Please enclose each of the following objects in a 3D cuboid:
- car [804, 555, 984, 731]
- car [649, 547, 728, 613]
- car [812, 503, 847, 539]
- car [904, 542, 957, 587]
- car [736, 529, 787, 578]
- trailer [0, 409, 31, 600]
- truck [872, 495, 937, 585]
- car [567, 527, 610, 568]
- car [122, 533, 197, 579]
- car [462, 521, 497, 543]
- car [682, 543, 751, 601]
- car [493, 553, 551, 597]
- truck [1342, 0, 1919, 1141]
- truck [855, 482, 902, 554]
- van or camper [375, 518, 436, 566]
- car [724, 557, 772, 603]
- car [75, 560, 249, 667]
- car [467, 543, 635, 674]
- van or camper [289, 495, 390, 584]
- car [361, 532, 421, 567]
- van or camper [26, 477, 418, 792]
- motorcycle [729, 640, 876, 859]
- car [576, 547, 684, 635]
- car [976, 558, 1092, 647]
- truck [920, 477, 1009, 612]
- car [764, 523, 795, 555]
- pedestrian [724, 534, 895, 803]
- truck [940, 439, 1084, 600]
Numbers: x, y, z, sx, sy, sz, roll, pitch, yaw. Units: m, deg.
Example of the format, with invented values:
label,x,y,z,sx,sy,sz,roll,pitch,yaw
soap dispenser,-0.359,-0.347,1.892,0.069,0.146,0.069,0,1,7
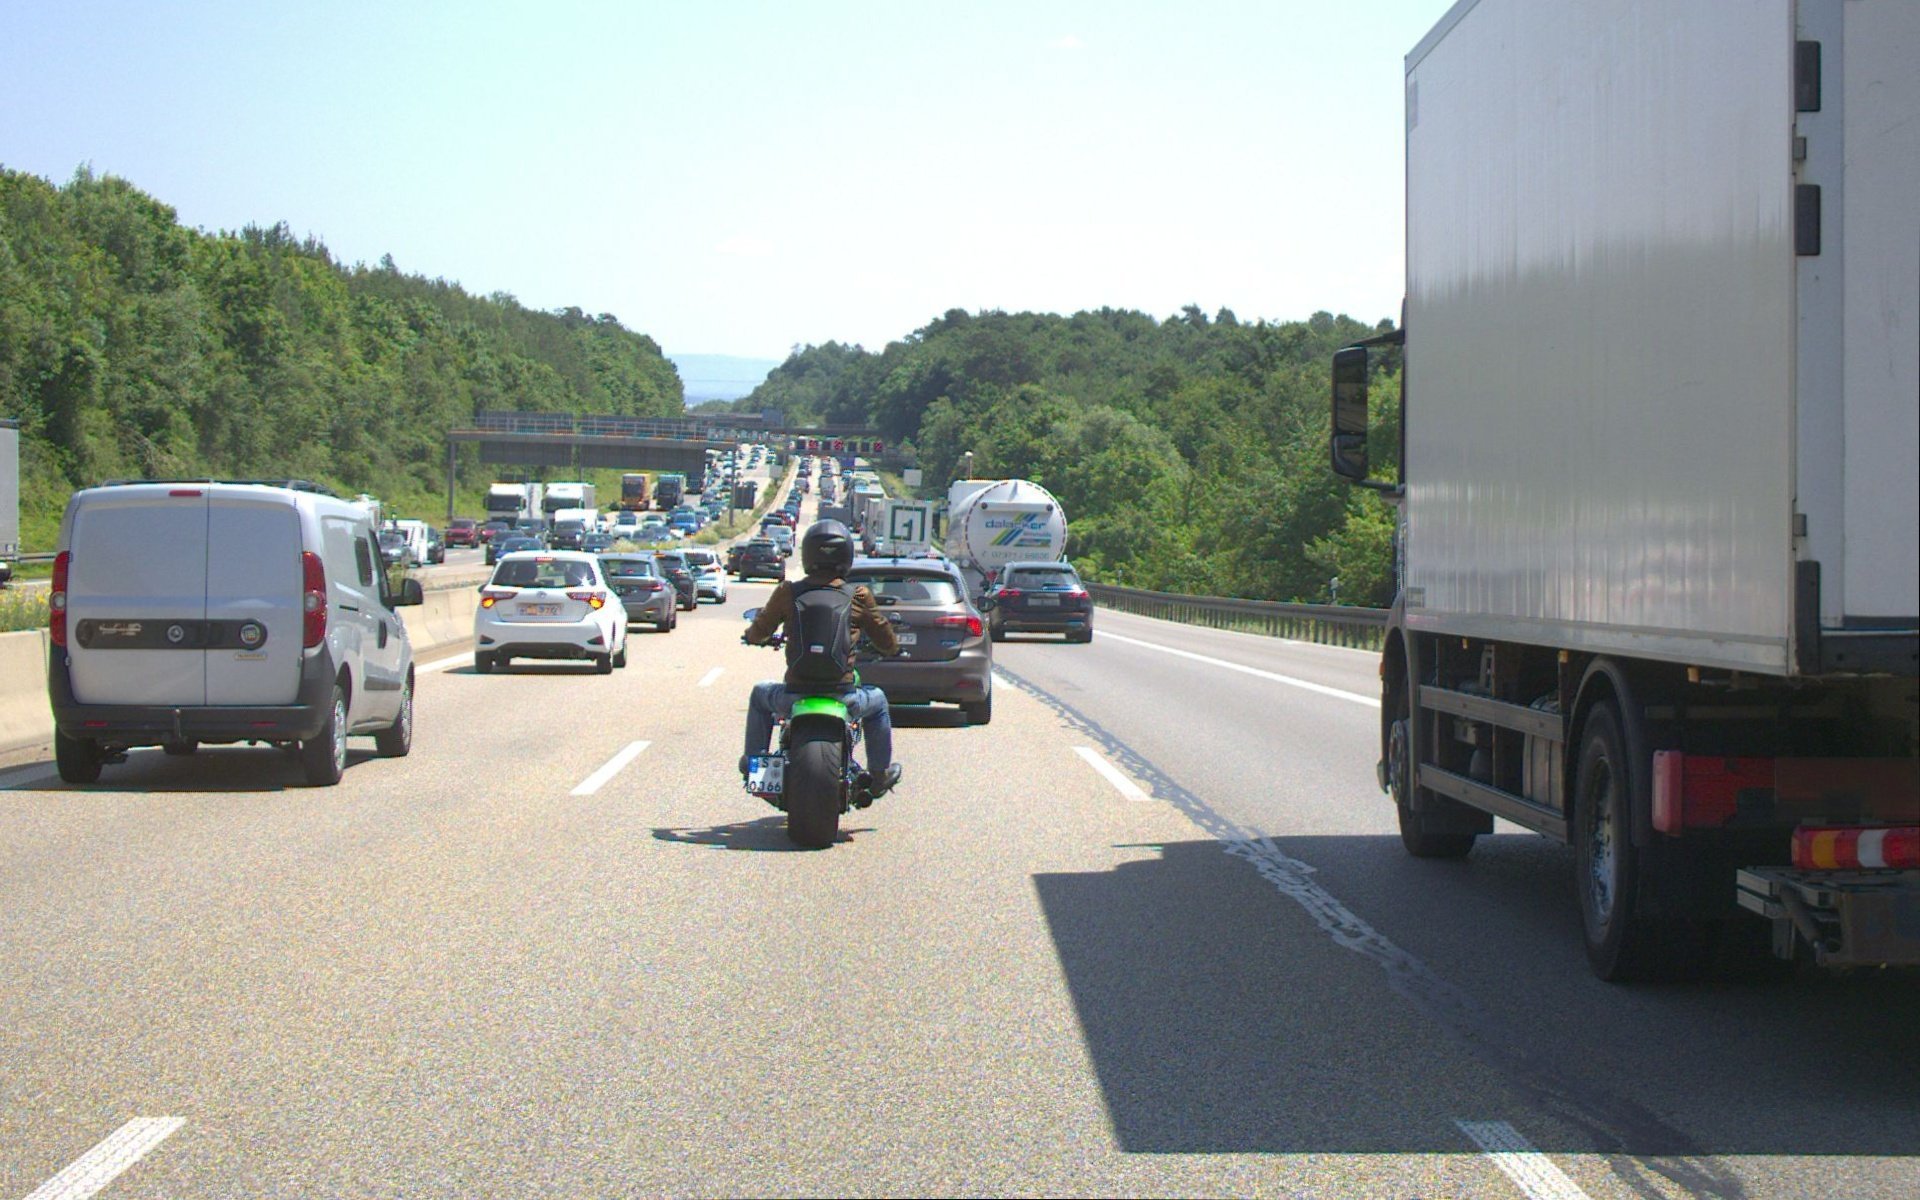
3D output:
label,x,y,z,sx,sy,sz,roll,pitch,yaw
car,-0.564,0.344,31.721,1.532,1.504,4.000,1,1,0
car,-6.578,-0.507,83.581,1.699,1.473,4.001,3,1,-2
car,-9.892,-5.995,259.839,2.504,2.578,5.017,3,1,-2
car,-1.102,-1.333,127.412,1.787,1.550,3.804,3,1,-2
car,-8.015,-1.879,138.926,1.880,1.853,4.000,3,1,-2
trailer,-20.867,-1.954,66.103,2.812,3.895,13.828,1,0,-2
truck,-3.061,-3.271,186.018,3.033,4.527,9.984,4,1,-2
car,-18.251,-2.574,169.040,1.891,1.941,4.000,1,0,-4
car,-26.565,-1.471,114.187,1.577,1.457,4.389,1,1,-1
car,-31.800,-4.488,227.525,1.762,1.365,4.502,2,1,-2
car,-6.671,-0.787,94.505,1.699,1.473,4.001,3,1,-2
car,-15.707,-0.918,123.403,1.710,1.532,4.129,1,1,-2
truck,3.431,-0.576,13.861,2.688,3.863,9.780,0,1,0
truck,-6.127,-6.102,257.245,3.033,5.121,9.984,4,1,-2
van or camper,-23.411,-2.447,145.270,2.076,1.970,3.705,1,1,-1
car,-9.543,-0.885,154.673,1.993,2.007,4.000,1,0,-2
car,-12.802,0.184,55.387,1.810,1.635,4.603,1,1,-1
car,-5.070,0.070,43.036,1.699,1.473,4.001,3,1,-2
van or camper,-19.967,-1.911,110.914,2.269,2.726,6.806,1,0,-2
car,-23.175,-2.048,140.149,1.801,1.342,4.724,1,1,-2
van or camper,-4.788,0.200,22.855,1.796,1.886,4.160,1,0,-2
motorcycle,-0.801,0.746,17.962,0.691,1.012,2.121,1,1,-1
car,-6.051,-0.193,63.395,1.699,1.473,4.001,3,1,-2
car,1.336,0.022,63.486,1.828,1.465,4.001,3,1,-2
truck,0.102,-1.463,92.754,1.993,3.510,4.752,1,0,-4
car,-11.810,-3.987,225.150,1.929,2.007,4.000,1,0,-2
pedestrian,-0.775,0.343,17.976,0.849,1.357,0.961,1,1,-1
truck,1.173,-1.864,83.671,2.987,3.659,9.288,1,0,-2
